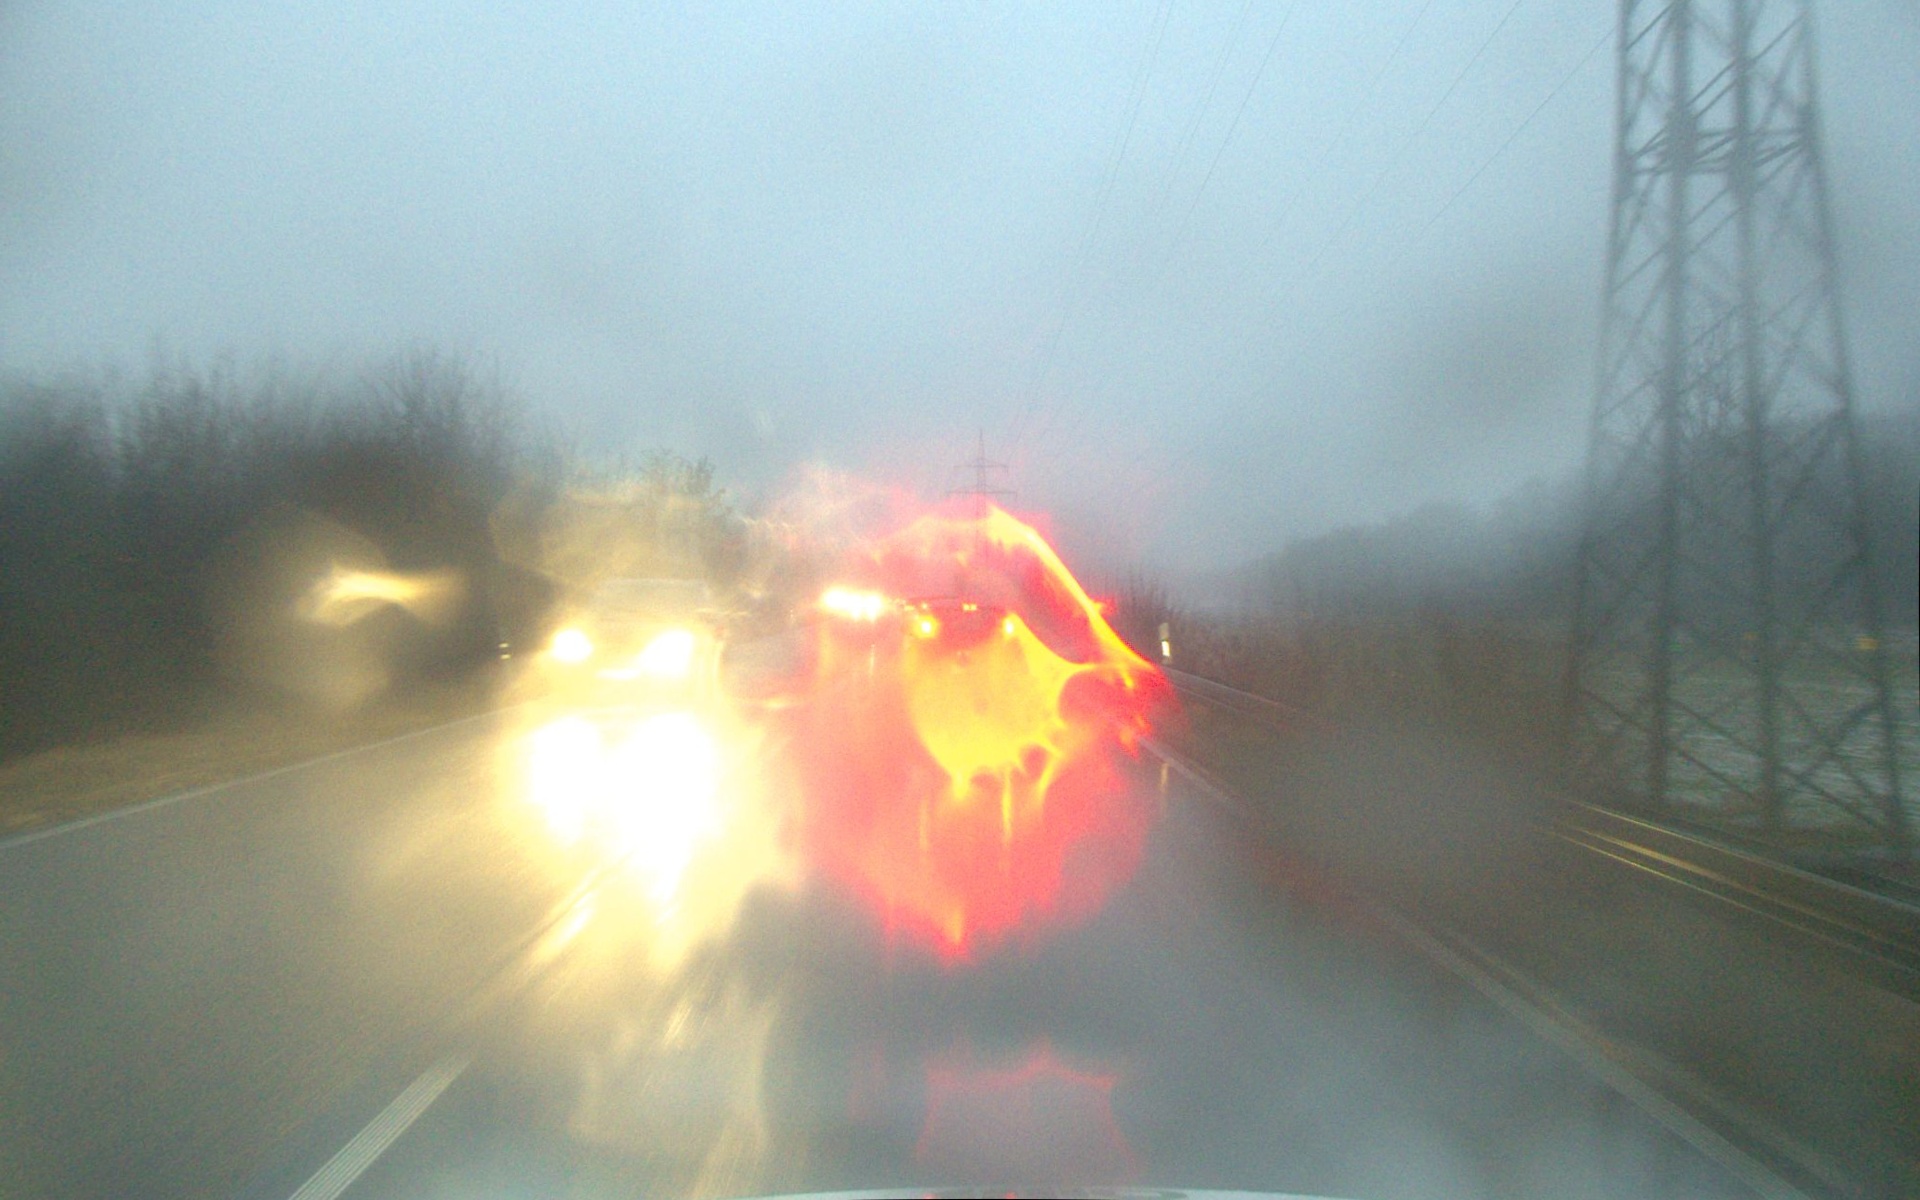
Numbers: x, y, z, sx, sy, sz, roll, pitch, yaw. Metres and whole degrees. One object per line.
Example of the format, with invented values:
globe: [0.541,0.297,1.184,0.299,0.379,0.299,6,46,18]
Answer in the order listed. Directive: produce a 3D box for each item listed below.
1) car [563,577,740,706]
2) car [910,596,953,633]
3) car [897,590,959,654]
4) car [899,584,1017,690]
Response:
car: [-4.255,0.528,23.427,1.700,1.642,4.212,1,0,0]
car: [-1.328,0.629,75.367,1.734,1.619,4.160,1,0,-4]
car: [-1.105,0.708,55.735,1.816,2.049,3.996,1,0,-5]
car: [-0.079,0.517,24.274,1.471,1.423,3.196,1,0,-5]
